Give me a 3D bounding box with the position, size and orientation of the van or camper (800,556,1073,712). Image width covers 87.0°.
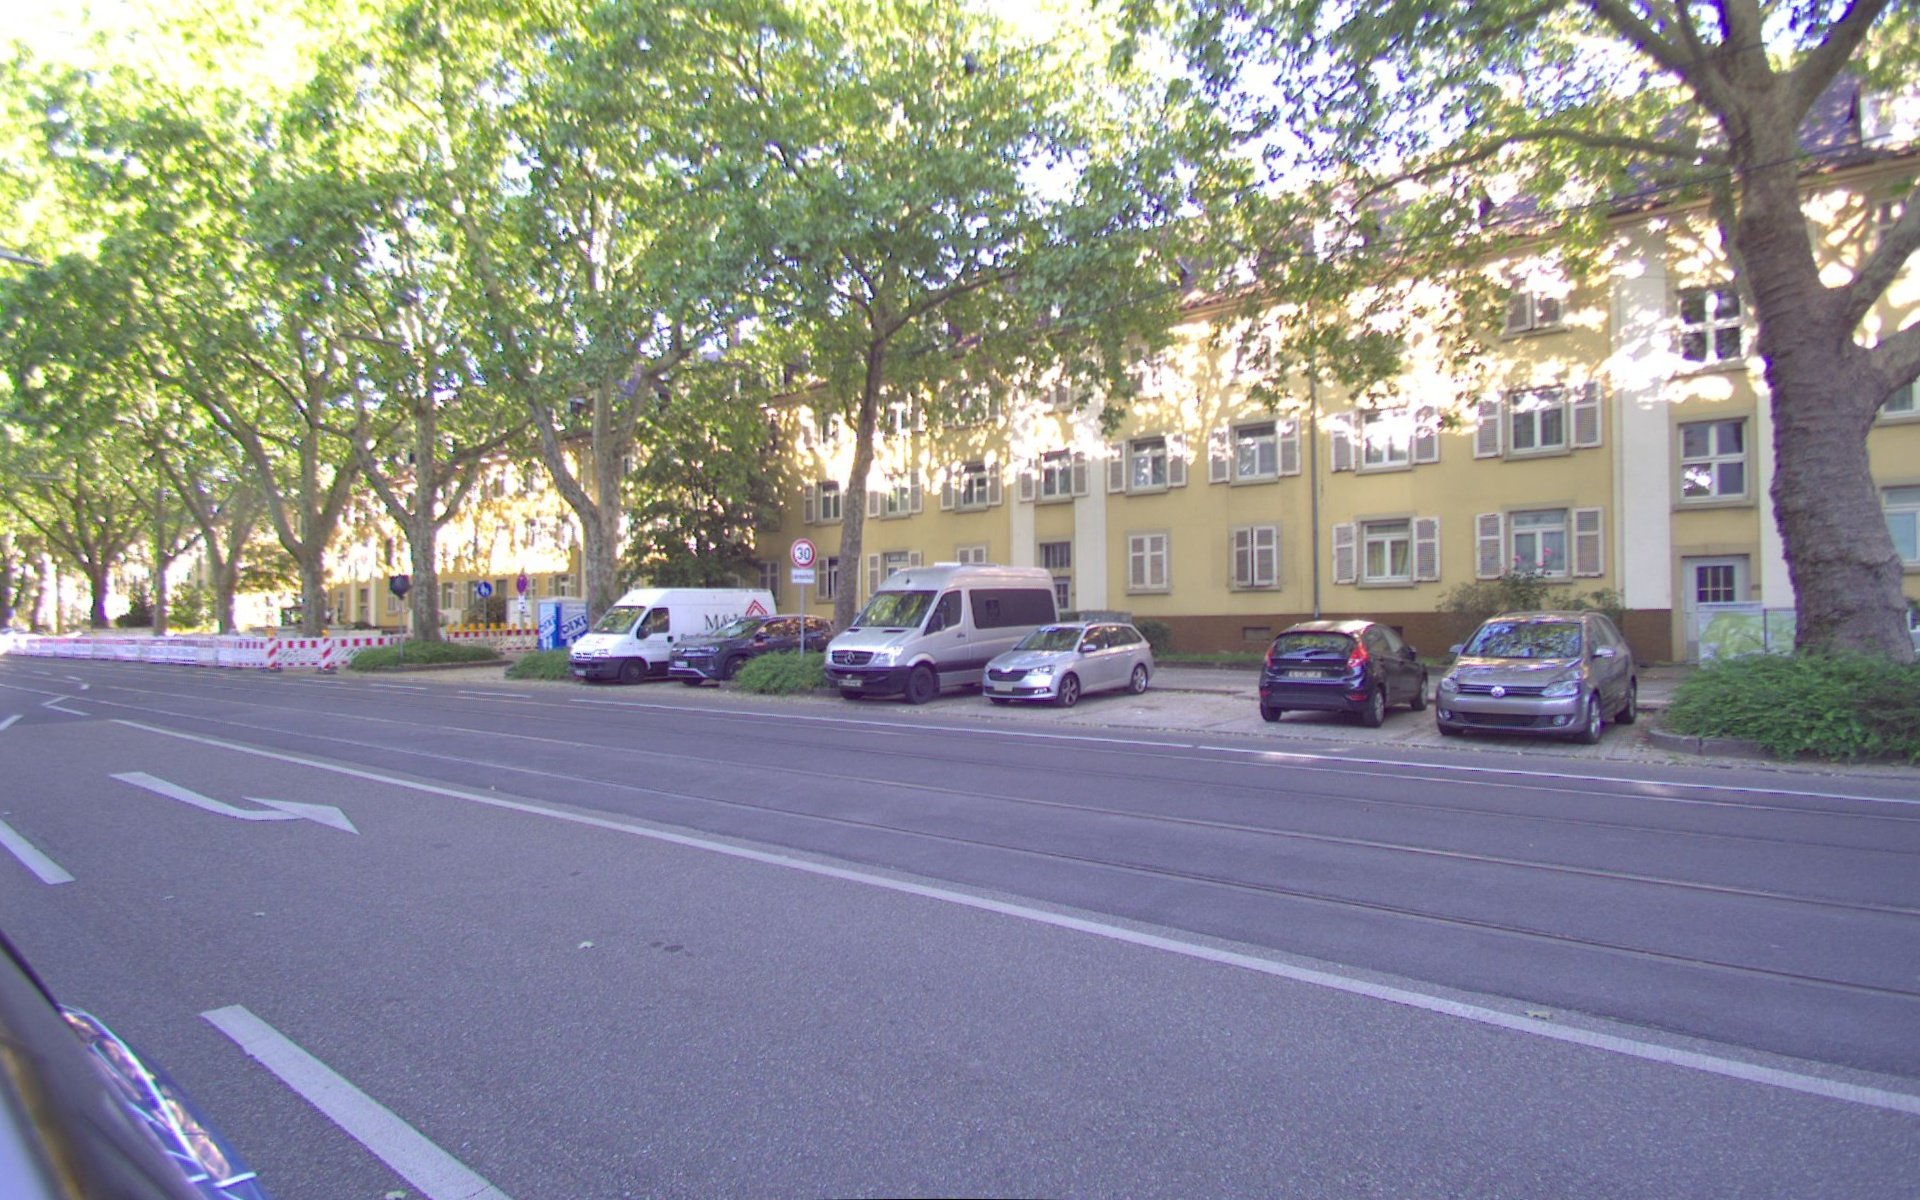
[{"bbox_3d":[-0.270,0.567,20.342,2.154,2.668,5.857,-1,0,40],"label":"van or camper"}]

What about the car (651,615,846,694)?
[{"bbox_3d":[-4.974,1.224,24.338,1.693,1.645,4.481,-1,0,41],"label":"car"}]

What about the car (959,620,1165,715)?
[{"bbox_3d":[2.000,1.143,18.784,1.693,1.457,4.221,-1,0,41],"label":"car"}]

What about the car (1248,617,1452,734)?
[{"bbox_3d":[6.013,1.032,15.385,1.693,1.457,3.811,-1,0,41],"label":"car"}]

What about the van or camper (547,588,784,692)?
[{"bbox_3d":[-7.489,0.921,26.350,2.154,2.403,5.690,-1,0,40],"label":"van or camper"}]

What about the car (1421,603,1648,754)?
[{"bbox_3d":[7.668,0.883,13.325,1.844,1.631,4.028,-1,0,41],"label":"car"}]
